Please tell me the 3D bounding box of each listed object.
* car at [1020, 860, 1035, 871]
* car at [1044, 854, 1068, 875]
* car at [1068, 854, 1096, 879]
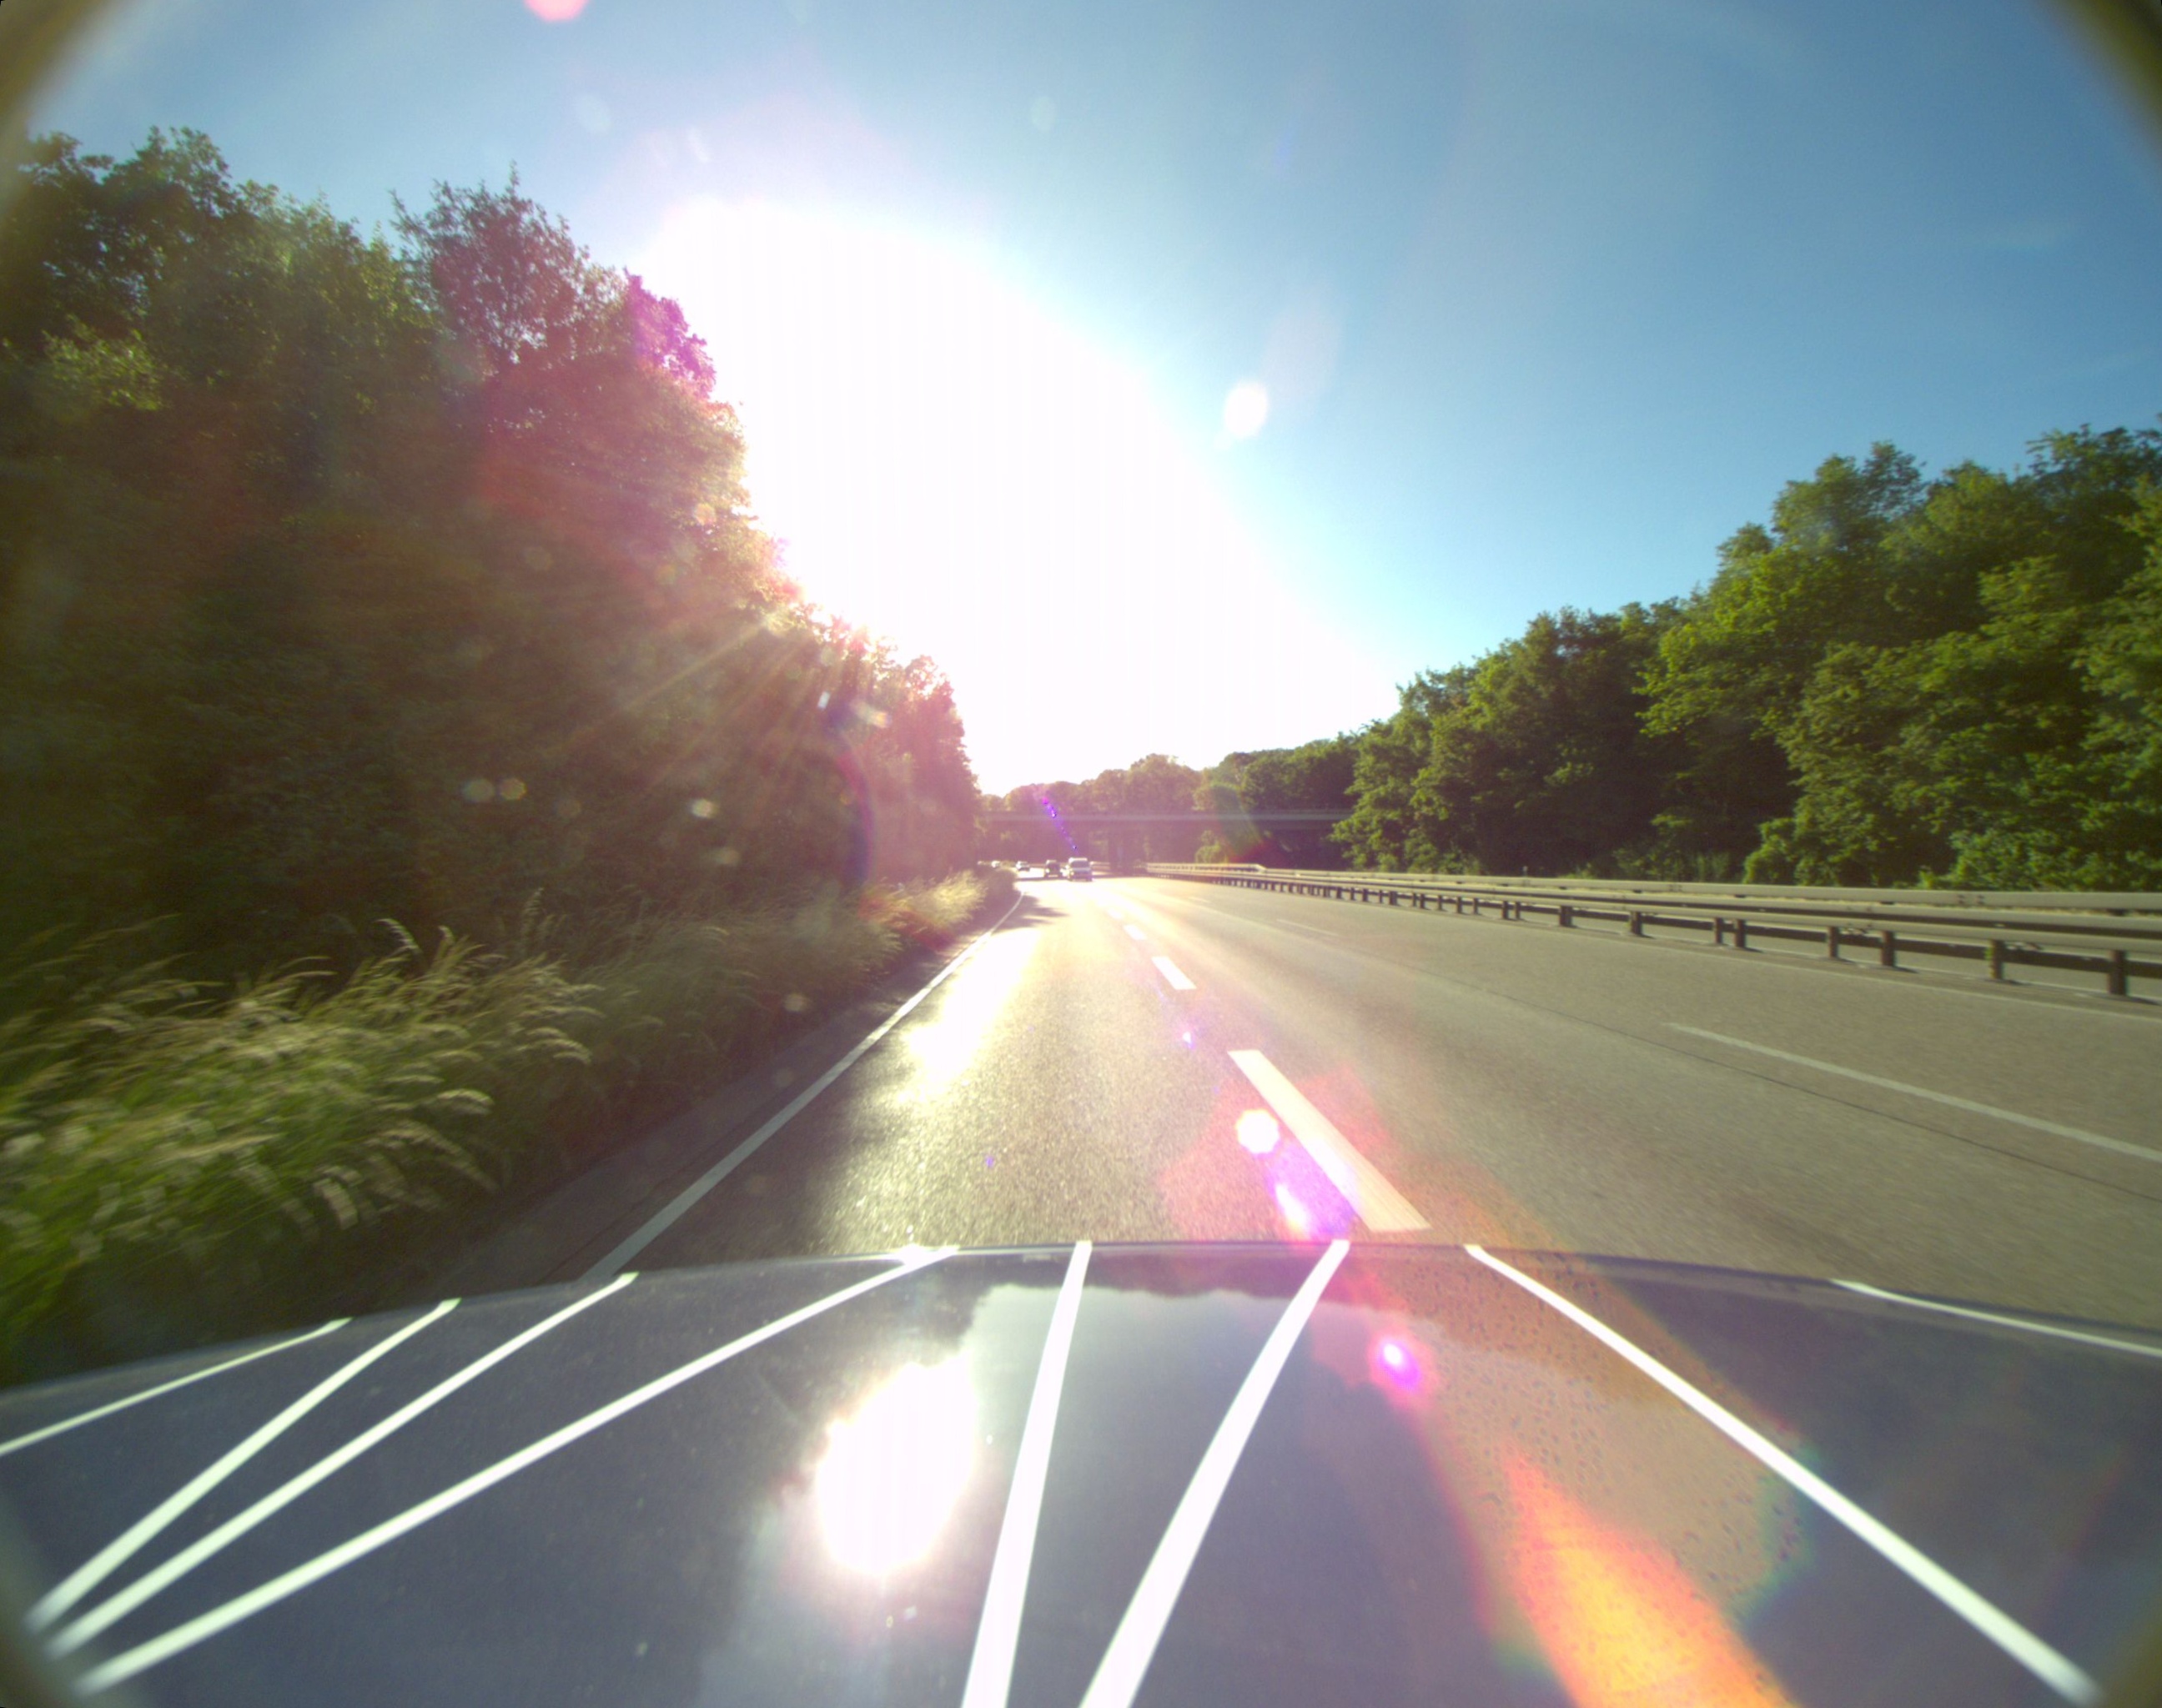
[{"bbox_3d":[-8.148,1.740,114.902,1.935,1.499,5.082,-1,1,-8],"label":"car"},{"bbox_3d":[-2.719,1.106,81.833,2.257,1.843,5.137,-1,3,-5],"label":"car"},{"bbox_3d":[0.030,0.929,60.470,1.800,1.796,4.830,-2,1,-5],"label":"car"}]
